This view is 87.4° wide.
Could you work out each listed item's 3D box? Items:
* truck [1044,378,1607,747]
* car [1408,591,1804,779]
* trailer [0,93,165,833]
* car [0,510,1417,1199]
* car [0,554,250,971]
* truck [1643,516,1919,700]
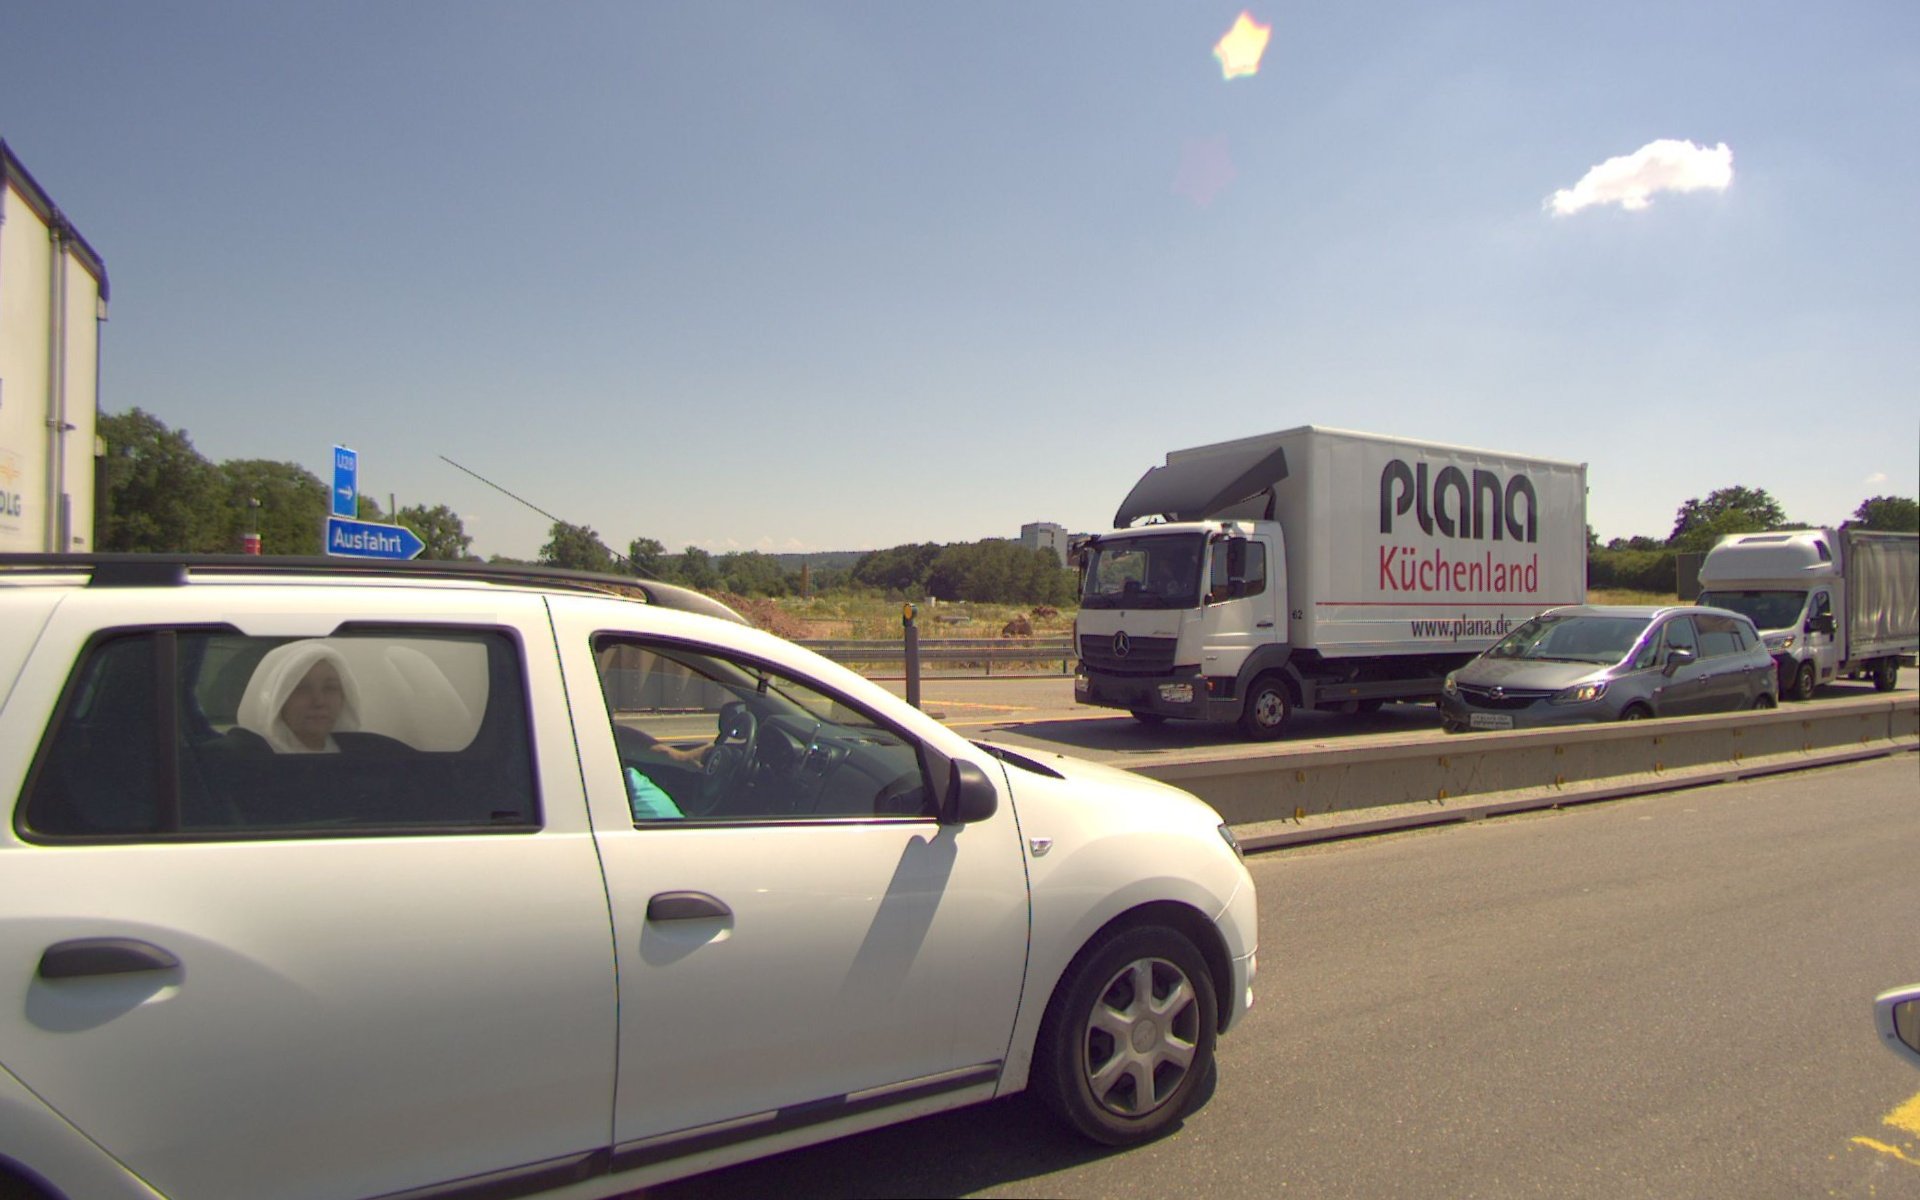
[{"bbox_3d":[5.397,-0.331,13.954,8.571,3.907,2.512,1,0,-31],"label":"truck"},{"bbox_3d":[7.259,0.827,11.184,4.493,1.673,1.818,1,2,-30],"label":"car"},{"bbox_3d":[-11.976,-0.954,3.693,13.784,4.264,2.971,2,0,-31],"label":"trailer"},{"bbox_3d":[-0.994,0.680,2.844,4.651,1.550,1.810,2,-1,-30],"label":"car"},{"bbox_3d":[-5.440,0.597,3.842,4.290,1.577,1.983,1,0,-32],"label":"car"},{"bbox_3d":[16.782,0.159,20.220,6.944,3.190,2.421,0,0,-32],"label":"truck"}]
